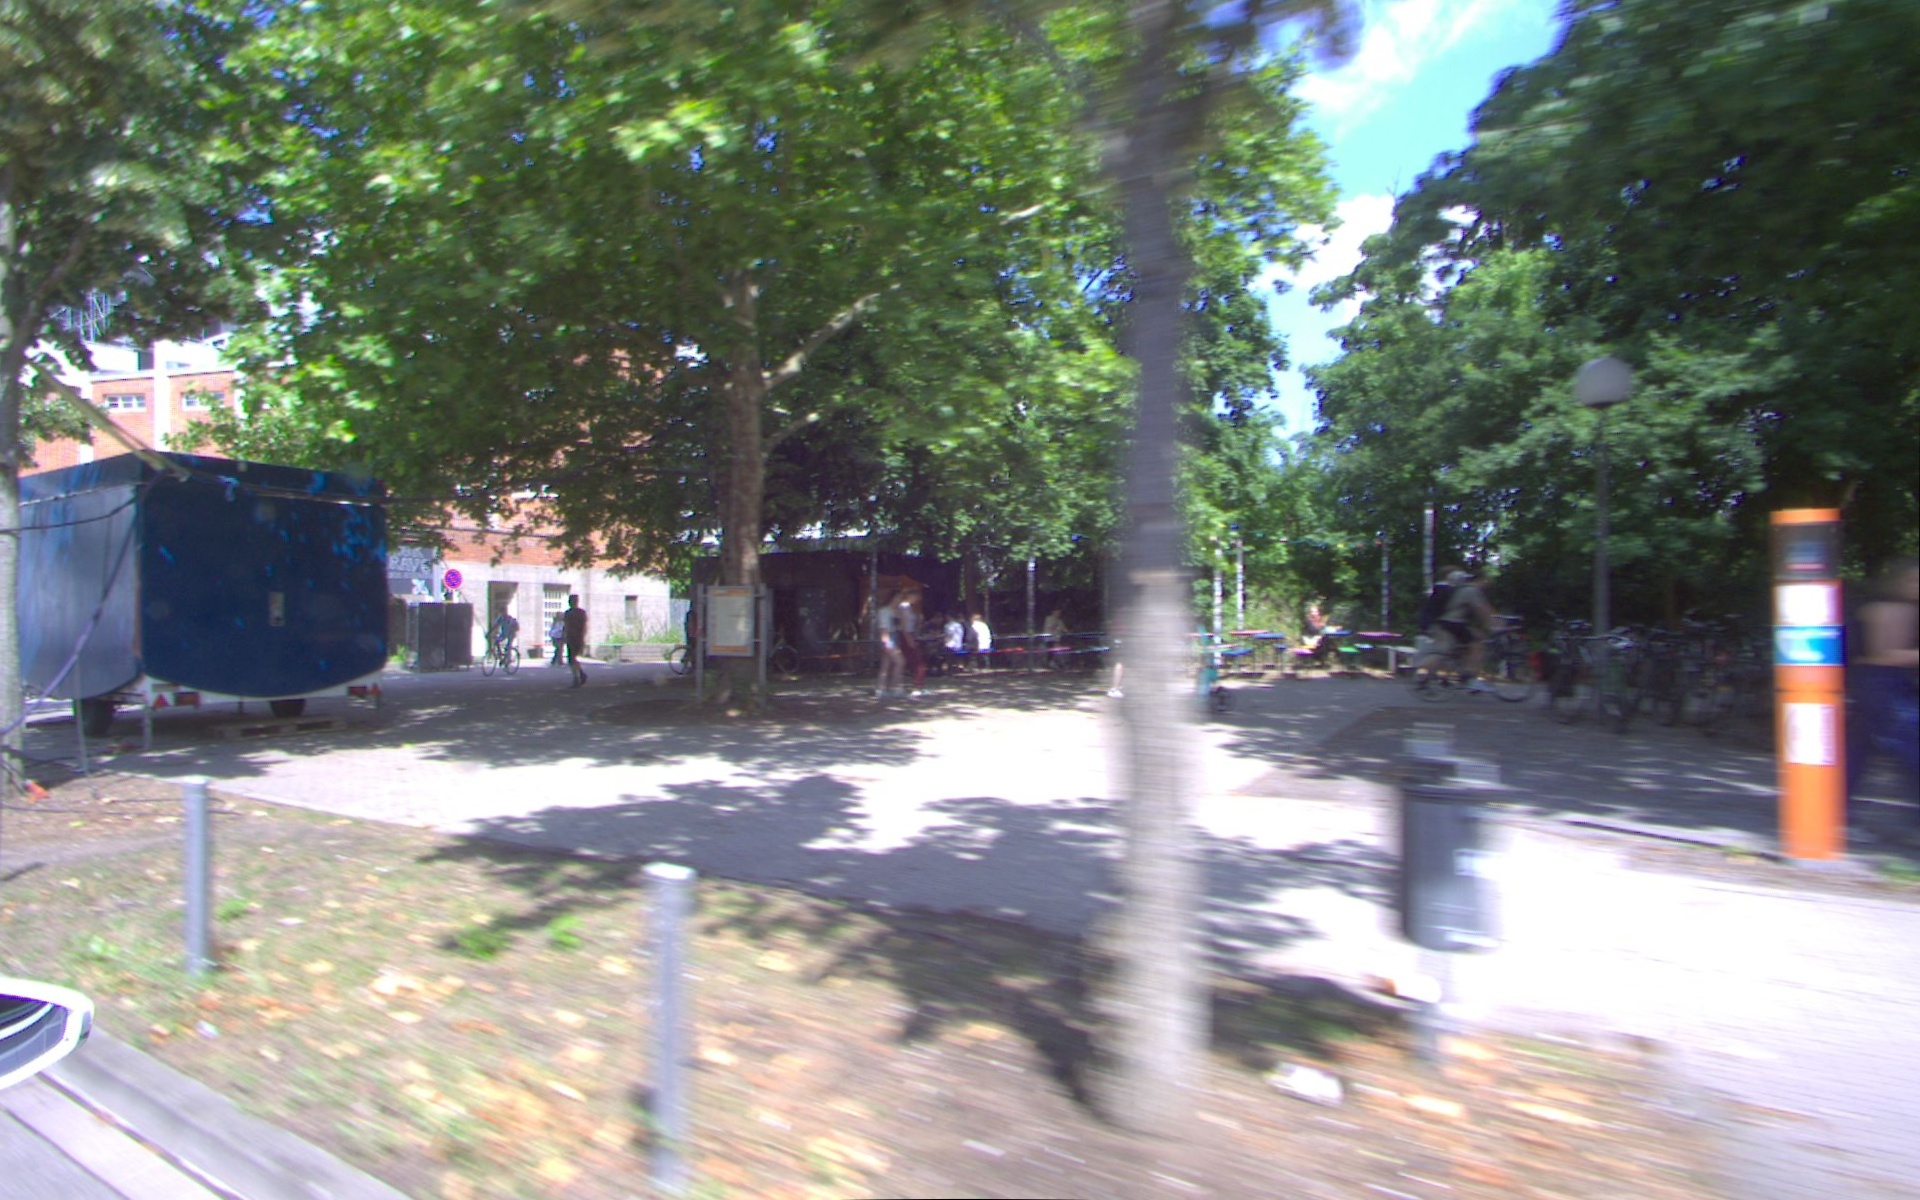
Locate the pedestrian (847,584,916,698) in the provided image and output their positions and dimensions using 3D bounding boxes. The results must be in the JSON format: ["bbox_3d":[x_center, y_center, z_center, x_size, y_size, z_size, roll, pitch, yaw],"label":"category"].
[{"bbox_3d":[-1.193,0.618,15.293,0.777,1.683,0.696,0,0,32],"label":"pedestrian"}]

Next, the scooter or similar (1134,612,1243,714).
[{"bbox_3d":[2.886,0.779,12.698,1.276,1.234,0.423,-1,0,33],"label":"scooter or similar"}]

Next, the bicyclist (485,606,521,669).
[{"bbox_3d":[-11.956,0.974,26.197,0.609,1.628,0.658,0,0,4],"label":"bicyclist"}]

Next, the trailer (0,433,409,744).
[{"bbox_3d":[-10.091,-0.091,12.709,6.165,3.092,2.687,0,1,31],"label":"trailer"}]

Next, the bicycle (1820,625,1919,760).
[{"bbox_3d":[8.625,0.810,8.892,0.601,1.133,1.902,0,0,10],"label":"bicycle"}]

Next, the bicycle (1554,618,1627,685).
[{"bbox_3d":[10.782,0.855,17.190,0.427,1.053,1.958,0,0,13],"label":"bicycle"}]

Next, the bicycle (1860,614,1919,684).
[{"bbox_3d":[15.587,0.791,16.289,0.469,1.108,1.753,0,0,6],"label":"bicycle"}]

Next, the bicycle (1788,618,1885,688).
[{"bbox_3d":[14.226,0.835,16.302,0.341,1.053,1.752,0,0,11],"label":"bicycle"}]

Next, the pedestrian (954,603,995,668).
[{"bbox_3d":[0.322,0.769,21.974,0.718,1.365,0.568,1,3,28],"label":"pedestrian"}]

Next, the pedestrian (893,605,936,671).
[{"bbox_3d":[-0.972,0.800,21.322,0.718,1.365,0.568,1,3,28],"label":"pedestrian"}]

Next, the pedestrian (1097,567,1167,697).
[{"bbox_3d":[2.585,0.474,15.042,0.812,1.879,0.763,0,0,32],"label":"pedestrian"}]

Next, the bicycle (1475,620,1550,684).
[{"bbox_3d":[9.466,0.870,17.227,0.601,0.992,1.958,0,0,13],"label":"bicycle"}]

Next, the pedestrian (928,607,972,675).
[{"bbox_3d":[-0.211,0.837,20.948,0.718,1.365,0.568,1,3,28],"label":"pedestrian"}]

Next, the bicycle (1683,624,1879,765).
[{"bbox_3d":[7.544,0.814,9.314,0.601,1.133,1.808,0,0,10],"label":"bicycle"}]

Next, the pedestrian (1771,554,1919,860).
[{"bbox_3d":[5.089,0.557,5.483,0.914,1.593,0.567,1,2,33],"label":"pedestrian"}]

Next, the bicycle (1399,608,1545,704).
[{"bbox_3d":[7.014,0.754,13.781,1.705,1.269,0.531,0,2,12],"label":"bicycle"}]

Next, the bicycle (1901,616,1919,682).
[{"bbox_3d":[16.276,0.835,16.508,0.341,1.108,1.609,0,0,13],"label":"bicycle"}]

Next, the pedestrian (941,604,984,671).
[{"bbox_3d":[0.060,0.791,21.458,0.718,1.365,0.568,1,3,28],"label":"pedestrian"}]

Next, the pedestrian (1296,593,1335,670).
[{"bbox_3d":[7.678,0.669,21.611,0.707,1.604,0.665,1,3,28],"label":"pedestrian"}]

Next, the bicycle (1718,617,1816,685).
[{"bbox_3d":[13.466,0.826,16.770,0.469,1.053,1.831,0,0,11],"label":"bicycle"}]

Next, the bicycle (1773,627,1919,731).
[{"bbox_3d":[9.882,0.824,11.026,0.413,0.992,1.903,-1,0,4],"label":"bicycle"}]

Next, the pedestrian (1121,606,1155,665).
[{"bbox_3d":[4.066,0.808,22.855,0.612,1.289,0.665,1,3,28],"label":"pedestrian"}]

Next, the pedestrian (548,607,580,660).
[{"bbox_3d":[-12.306,1.036,31.121,0.669,1.628,0.657,0,0,17],"label":"pedestrian"}]

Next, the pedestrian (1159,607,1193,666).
[{"bbox_3d":[4.869,0.809,22.556,0.612,1.289,0.665,1,3,28],"label":"pedestrian"}]

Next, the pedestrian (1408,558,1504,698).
[{"bbox_3d":[7.229,0.391,14.638,1.058,1.975,0.834,0,2,12],"label":"pedestrian"}]

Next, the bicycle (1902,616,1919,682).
[{"bbox_3d":[16.274,0.836,16.495,0.341,1.108,1.609,0,0,13],"label":"bicycle"}]

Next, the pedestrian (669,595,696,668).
[{"bbox_3d":[-7.302,0.830,26.363,0.523,1.907,0.445,0,0,42],"label":"pedestrian"}]

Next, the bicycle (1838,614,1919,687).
[{"bbox_3d":[15.246,0.794,16.322,0.469,1.108,1.753,0,0,6],"label":"bicycle"}]

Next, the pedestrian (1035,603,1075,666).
[{"bbox_3d":[2.169,0.774,22.860,0.708,1.365,0.665,1,3,28],"label":"pedestrian"}]

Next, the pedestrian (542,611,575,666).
[{"bbox_3d":[-12.075,1.135,30.121,0.669,1.628,0.657,0,0,17],"label":"pedestrian"}]

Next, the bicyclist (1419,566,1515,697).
[{"bbox_3d":[6.958,0.424,13.785,1.058,1.753,0.531,0,2,12],"label":"bicyclist"}]

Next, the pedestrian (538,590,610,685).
[{"bbox_3d":[-7.515,0.708,19.506,0.904,1.799,0.958,1,1,24],"label":"pedestrian"}]

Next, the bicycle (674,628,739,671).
[{"bbox_3d":[-7.161,1.373,28.261,1.997,1.154,0.572,0,-1,32],"label":"bicycle"}]

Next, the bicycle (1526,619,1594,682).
[{"bbox_3d":[10.387,0.852,17.394,0.430,0.992,1.958,0,0,13],"label":"bicycle"}]

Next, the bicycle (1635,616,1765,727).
[{"bbox_3d":[8.453,0.771,11.520,0.469,1.158,1.902,0,0,13],"label":"bicycle"}]

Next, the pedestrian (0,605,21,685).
[{"bbox_3d":[-20.963,0.971,21.544,0.935,1.661,0.873,4,5,32],"label":"pedestrian"}]

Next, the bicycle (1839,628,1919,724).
[{"bbox_3d":[10.503,0.822,10.853,0.469,0.992,1.903,0,0,7],"label":"bicycle"}]

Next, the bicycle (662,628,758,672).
[{"bbox_3d":[-6.517,1.273,26.178,0.775,1.085,2.382,-1,-1,45],"label":"bicycle"}]

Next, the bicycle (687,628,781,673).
[{"bbox_3d":[-5.760,1.259,25.667,0.773,1.085,2.387,-1,-1,39],"label":"bicycle"}]

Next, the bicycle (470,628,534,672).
[{"bbox_3d":[-11.971,1.289,26.234,0.609,1.094,2.027,0,-1,4],"label":"bicycle"}]

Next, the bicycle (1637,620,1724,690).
[{"bbox_3d":[11.710,0.865,16.326,0.426,1.053,1.783,0,0,11],"label":"bicycle"}]

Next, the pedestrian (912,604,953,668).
[{"bbox_3d":[-0.603,0.779,22.020,0.718,1.365,0.568,1,3,28],"label":"pedestrian"}]

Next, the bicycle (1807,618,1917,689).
[{"bbox_3d":[14.574,0.833,16.236,0.469,1.053,1.752,0,0,11],"label":"bicycle"}]

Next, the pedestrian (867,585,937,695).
[{"bbox_3d":[-0.919,0.616,15.914,0.812,1.683,0.763,0,0,32],"label":"pedestrian"}]

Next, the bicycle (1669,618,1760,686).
[{"bbox_3d":[12.600,0.838,16.780,0.469,1.053,1.783,0,0,11],"label":"bicycle"}]

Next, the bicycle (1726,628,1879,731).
[{"bbox_3d":[9.237,0.830,11.069,0.469,0.992,1.902,0,0,13],"label":"bicycle"}]

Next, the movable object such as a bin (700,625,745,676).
[{"bbox_3d":[-5.234,1.108,22.073,0.732,1.085,0.598,-2,-2,33],"label":"movable object such as a bin"}]

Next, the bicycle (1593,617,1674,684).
[{"bbox_3d":[11.508,0.829,17.167,0.469,1.053,1.958,0,0,13],"label":"bicycle"}]

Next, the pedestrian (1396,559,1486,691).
[{"bbox_3d":[7.405,0.376,15.463,1.058,1.975,0.834,0,2,12],"label":"pedestrian"}]

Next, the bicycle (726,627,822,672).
[{"bbox_3d":[-4.660,1.240,25.278,0.775,1.085,2.383,-1,-3,44],"label":"bicycle"}]
